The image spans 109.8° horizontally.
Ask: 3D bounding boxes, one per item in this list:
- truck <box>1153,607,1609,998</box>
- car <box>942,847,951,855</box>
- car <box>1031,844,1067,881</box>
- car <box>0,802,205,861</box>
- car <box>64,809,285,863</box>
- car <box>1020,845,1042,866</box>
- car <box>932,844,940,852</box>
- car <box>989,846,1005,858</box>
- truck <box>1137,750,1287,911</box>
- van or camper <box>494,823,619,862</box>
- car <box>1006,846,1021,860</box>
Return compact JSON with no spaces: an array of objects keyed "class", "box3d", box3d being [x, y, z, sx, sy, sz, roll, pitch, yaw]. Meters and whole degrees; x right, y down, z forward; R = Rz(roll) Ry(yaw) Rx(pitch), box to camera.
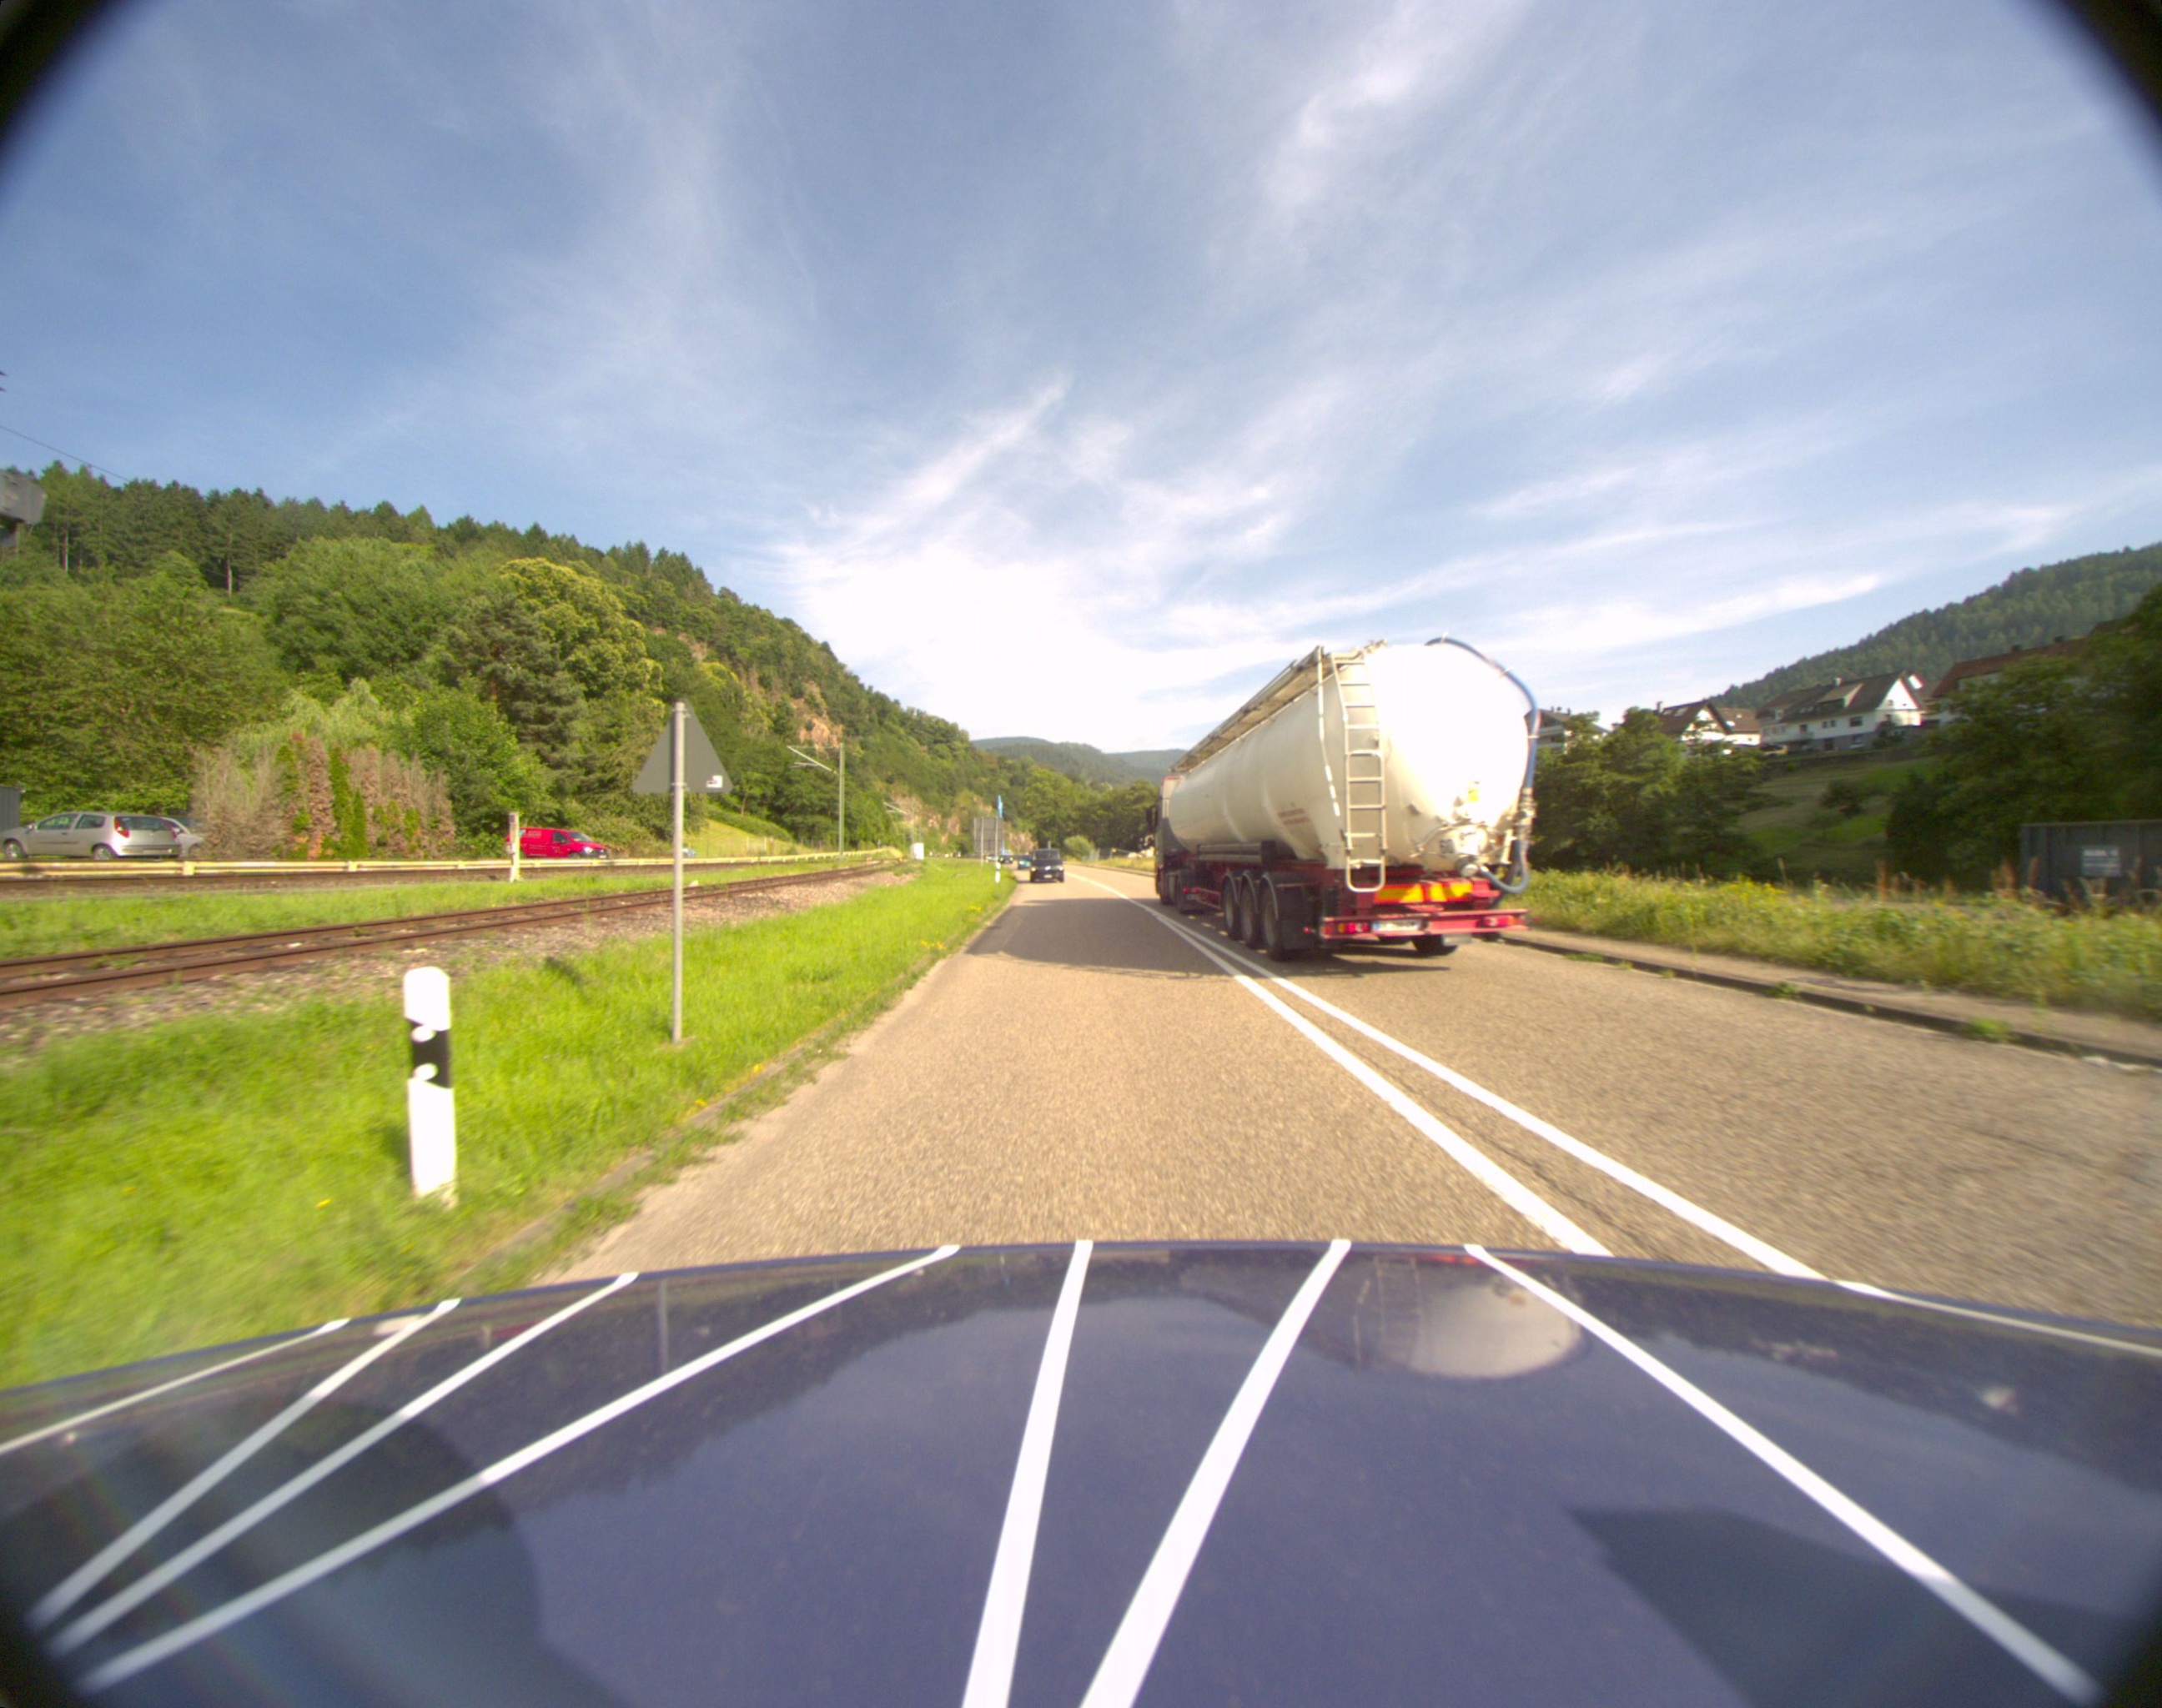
[{"class":"truck","box3d":[3.688,-0.520,14.807,2.757,3.813,14.559,-1,0,-1]},{"class":"car","box3d":[-33.770,-0.710,190.944,2.000,2.002,3.997,2,0,-8]},{"class":"car","box3d":[-1.876,0.521,44.203,1.999,2.001,4.000,1,-2,-2]},{"class":"car","box3d":[-28.187,-0.610,21.608,3.999,1.521,1.999,1,-1,-5]},{"class":"car","box3d":[-28.620,-0.529,24.131,4.325,1.521,1.999,1,-1,-5]},{"class":"car","box3d":[-5.056,0.190,76.893,2.000,2.002,3.997,2,0,-6]},{"class":"car","box3d":[-37.884,-1.509,198.254,2.001,2.002,3.995,2,0,-12]},{"class":"car","box3d":[-14.311,-0.327,128.870,2.001,2.002,3.994,2,0,-15]},{"class":"truck","box3d":[3.481,-0.577,22.441,2.757,3.813,8.196,-1,0,-1]},{"class":"van or camper","box3d":[-28.793,-0.618,41.827,5.430,1.918,2.120,2,0,1]},{"class":"car","box3d":[-9.769,-0.134,109.373,2.000,2.002,3.997,2,0,-6]}]
